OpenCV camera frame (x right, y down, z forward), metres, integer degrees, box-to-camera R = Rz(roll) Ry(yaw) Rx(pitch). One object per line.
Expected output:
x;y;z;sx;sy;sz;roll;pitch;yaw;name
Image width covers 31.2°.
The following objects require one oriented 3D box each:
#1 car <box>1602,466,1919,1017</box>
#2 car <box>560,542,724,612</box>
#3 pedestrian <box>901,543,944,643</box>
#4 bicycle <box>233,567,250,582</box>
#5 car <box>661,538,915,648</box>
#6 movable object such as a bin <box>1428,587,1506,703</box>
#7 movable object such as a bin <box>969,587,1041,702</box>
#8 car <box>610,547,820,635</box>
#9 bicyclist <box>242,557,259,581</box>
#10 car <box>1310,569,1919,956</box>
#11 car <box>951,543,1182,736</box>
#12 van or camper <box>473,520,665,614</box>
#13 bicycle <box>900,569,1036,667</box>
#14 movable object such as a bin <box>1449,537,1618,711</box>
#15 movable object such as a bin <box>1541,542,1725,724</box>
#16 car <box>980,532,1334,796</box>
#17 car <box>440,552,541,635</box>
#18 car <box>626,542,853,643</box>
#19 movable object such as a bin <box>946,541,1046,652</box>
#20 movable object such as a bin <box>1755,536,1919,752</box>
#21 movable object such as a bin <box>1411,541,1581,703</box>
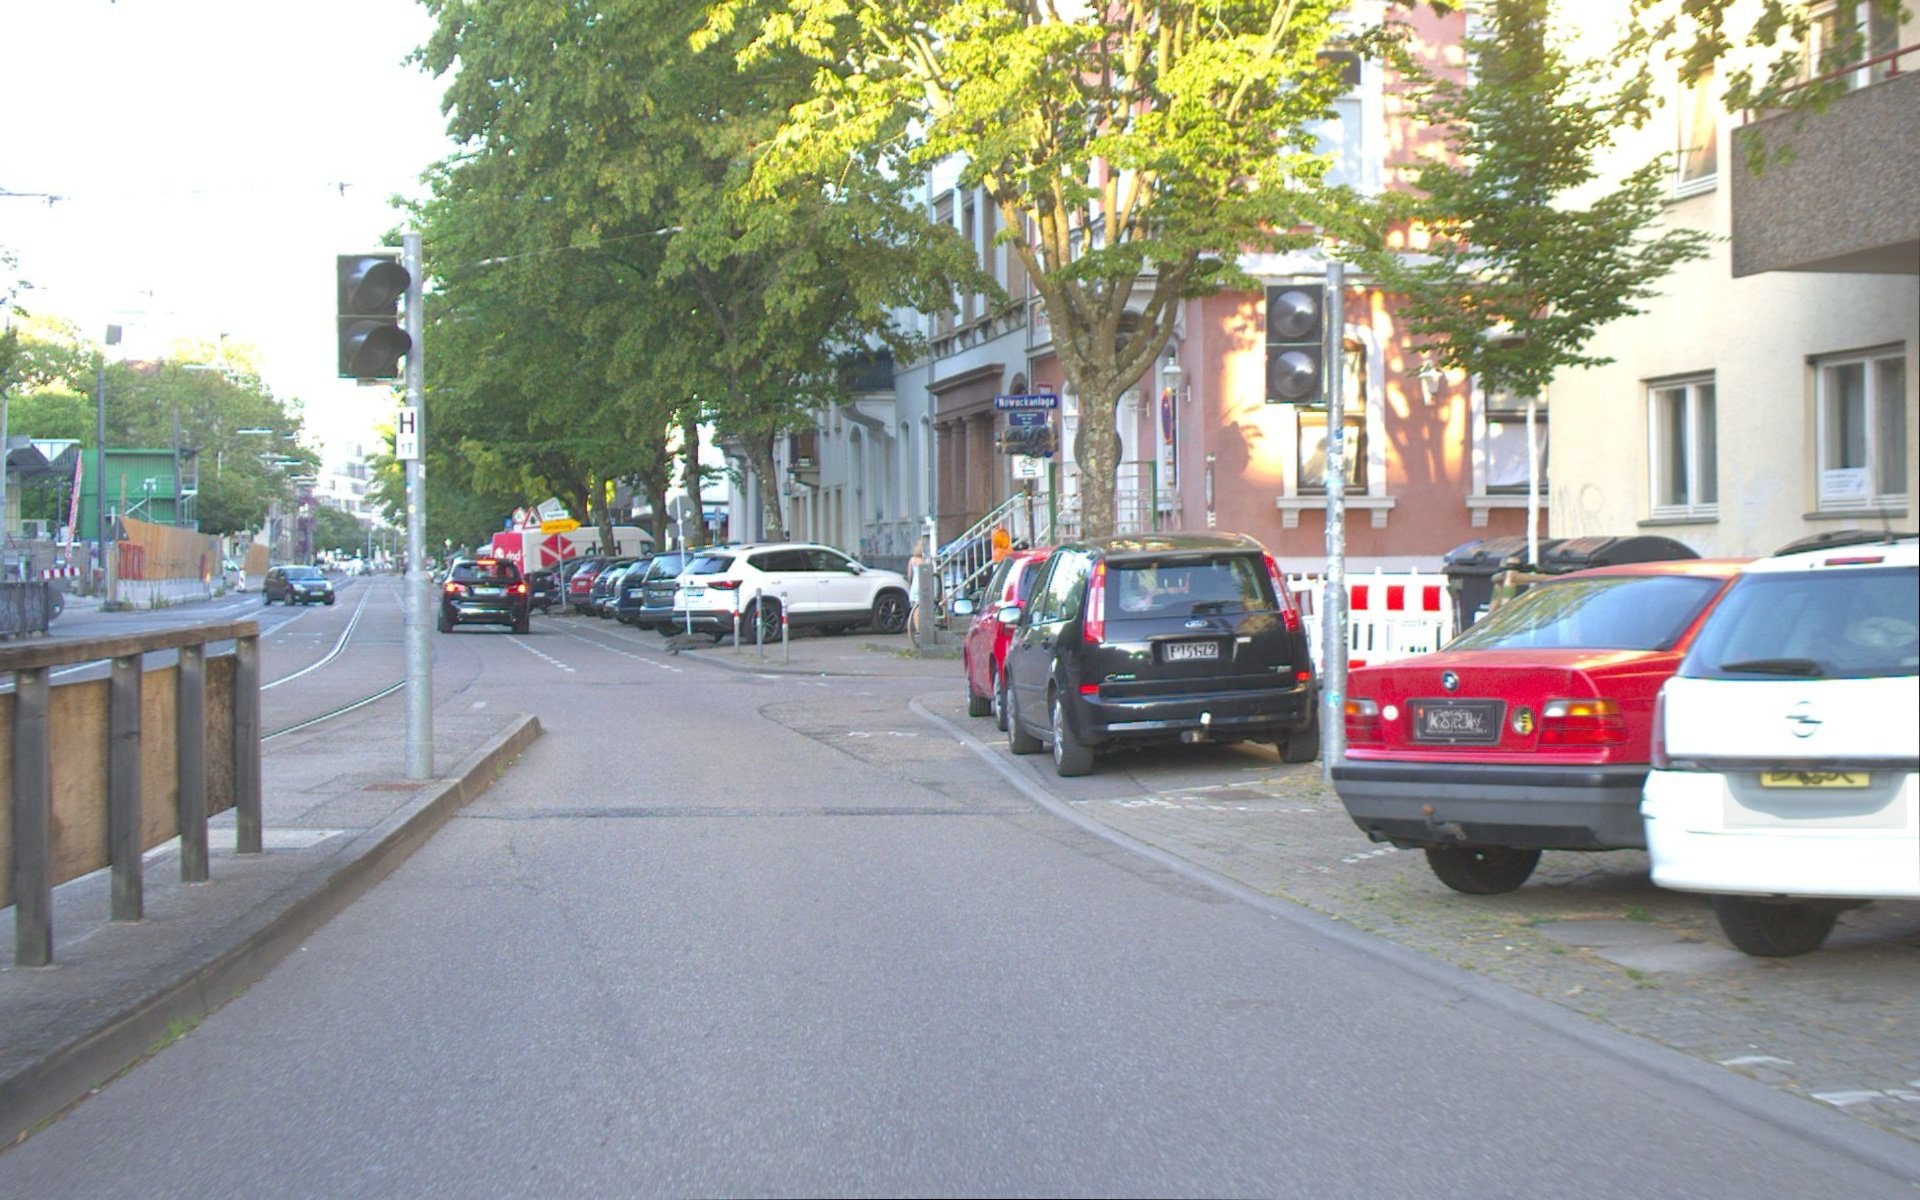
4.298;0.422;12.408;4.198;1.719;1.721;-1;1;-42;car
-8.628;-0.622;93.290;3.943;1.598;1.840;-5;2;-36;car
-0.606;-0.115;55.461;0.586;1.604;0.625;0;0;-9;pedestrian
-42.518;-1.526;203.514;0.947;0.846;2.697;0;1;-12;bicycle
-2.825;-0.135;57.097;3.944;1.621;1.673;-4;2;-40;car
4.624;0.405;31.371;0.553;1.044;0.571;0;0;-11;movable object such as a bin
0.458;0.448;35.001;0.712;1.149;0.588;0;0;3;movable object such as a bin
-5.036;-0.197;71.028;3.944;1.598;1.839;-3;1;-41;car
-41.865;-1.826;202.874;0.944;1.341;1.112;-2;0;-12;bicyclist
3.628;0.595;14.845;4.197;1.449;1.645;0;1;-36;car
0.875;0.305;30.132;1.564;1.531;3.693;-2;1;-5;car
-11.874;-1.022;104.742;5.535;2.522;2.085;-4;1;-44;van or camper
0.114;0.230;45.805;1.913;1.262;0.601;-1;1;-44;bicycle
5.045;0.200;30.324;1.072;1.497;1.319;0;0;-11;movable object such as a bin
5.660;0.266;28.985;1.140;1.497;1.271;0;0;-10;movable object such as a bin
1.286;0.392;24.195;1.743;1.626;4.089;-2;1;-7;car
-9.770;-0.135;71.374;1.881;1.614;4.001;2;0;-10;car
-4.129;-0.154;64.738;1.900;1.663;3.945;-2;1;44;car
0.484;-0.055;47.428;1.140;1.497;1.399;0;0;-10;movable object such as a bin
6.519;0.297;24.620;1.113;1.497;1.482;0;1;-10;movable object such as a bin
5.061;0.194;32.581;1.140;1.497;1.598;0;1;-10;movable object such as a bin
